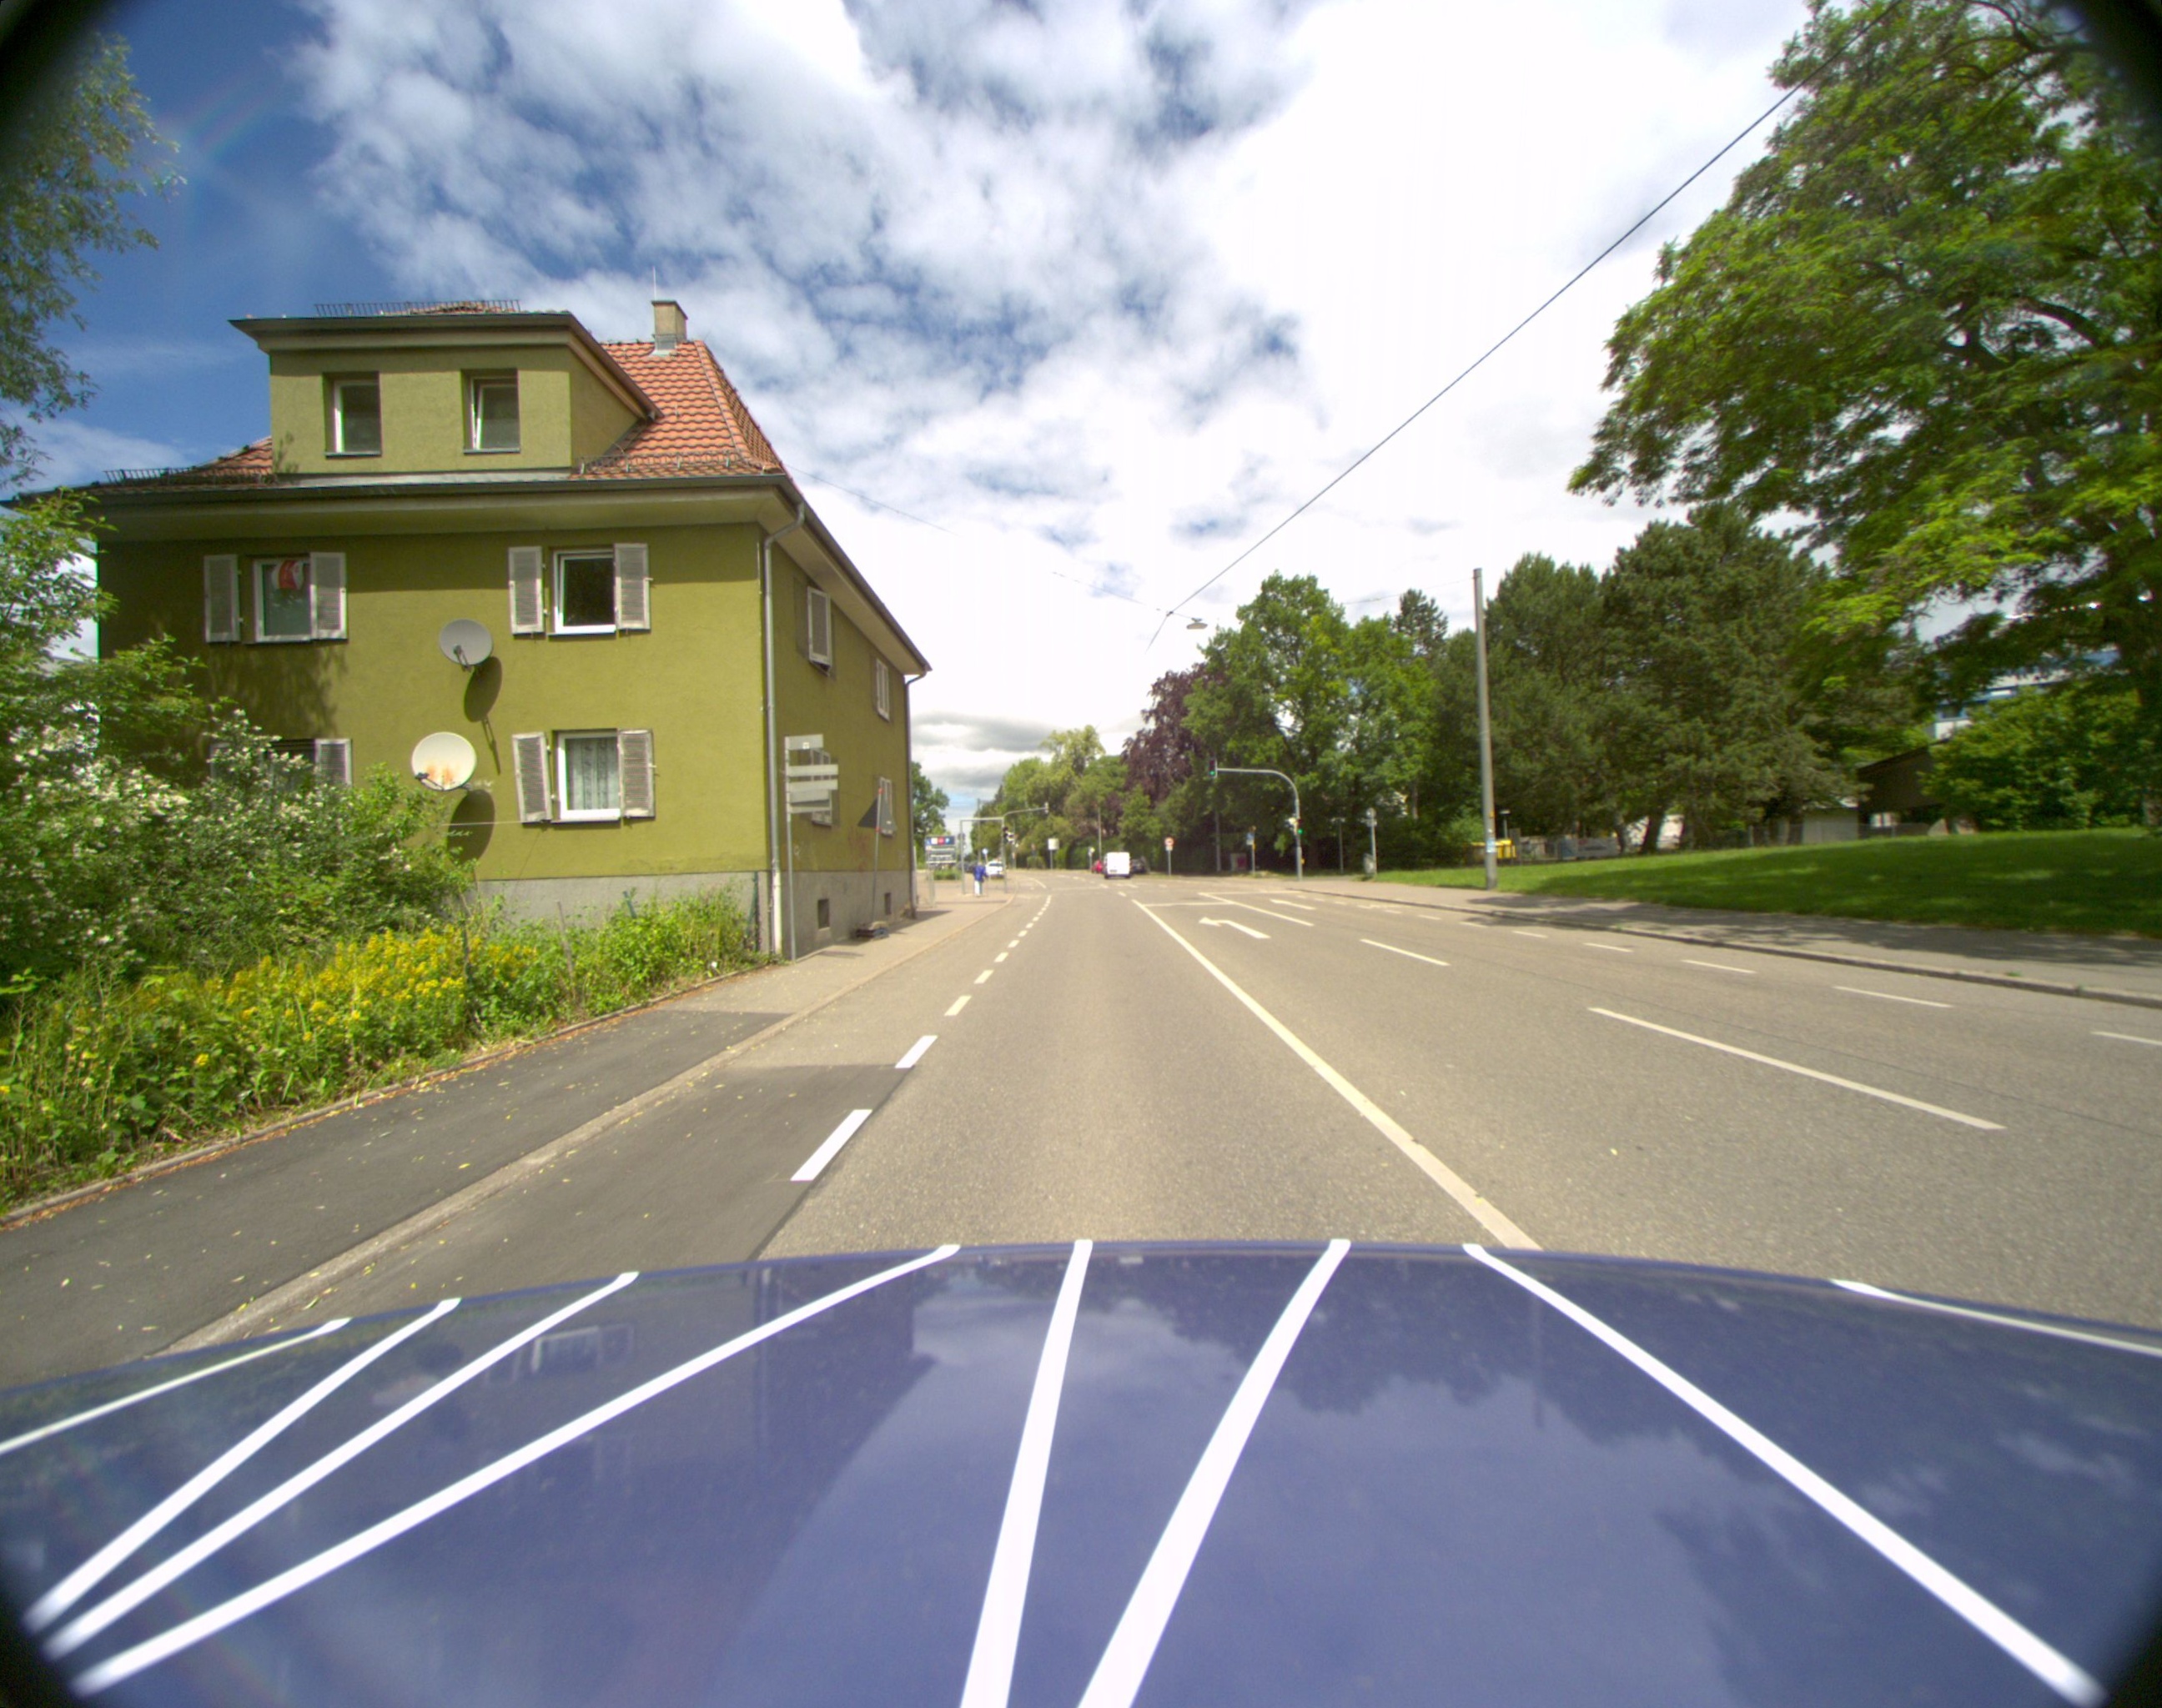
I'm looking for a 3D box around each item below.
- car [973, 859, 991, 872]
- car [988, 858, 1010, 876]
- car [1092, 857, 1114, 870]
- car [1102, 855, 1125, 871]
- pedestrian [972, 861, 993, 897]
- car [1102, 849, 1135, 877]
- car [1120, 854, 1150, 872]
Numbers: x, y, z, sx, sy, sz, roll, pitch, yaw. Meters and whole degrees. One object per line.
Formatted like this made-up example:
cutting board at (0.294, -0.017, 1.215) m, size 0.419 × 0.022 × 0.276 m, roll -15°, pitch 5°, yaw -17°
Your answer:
car at (-12.563, 1.442, 96.483) m, size 1.707 × 1.522 × 3.995 m, roll -3°, pitch 0°, yaw -15°
car at (-7.394, 1.135, 68.431) m, size 1.796 × 1.522 × 3.918 m, roll 0°, pitch 0°, yaw -9°
car at (2.376, 0.997, 81.334) m, size 1.531 × 1.358 × 3.371 m, roll -3°, pitch 1°, yaw -12°
car at (3.255, 0.907, 76.331) m, size 1.524 × 1.469 × 3.321 m, roll -3°, pitch 0°, yaw -12°
pedestrian at (-4.334, 1.080, 33.511) m, size 0.826 × 1.563 × 0.987 m, roll -1°, pitch 1°, yaw -4°
car at (2.813, 0.668, 57.809) m, size 1.999 × 2.011 × 5.350 m, roll -1°, pitch 0°, yaw -2°
car at (4.719, 0.763, 67.066) m, size 1.688 × 1.407 × 4.398 m, roll -3°, pitch 1°, yaw -9°
